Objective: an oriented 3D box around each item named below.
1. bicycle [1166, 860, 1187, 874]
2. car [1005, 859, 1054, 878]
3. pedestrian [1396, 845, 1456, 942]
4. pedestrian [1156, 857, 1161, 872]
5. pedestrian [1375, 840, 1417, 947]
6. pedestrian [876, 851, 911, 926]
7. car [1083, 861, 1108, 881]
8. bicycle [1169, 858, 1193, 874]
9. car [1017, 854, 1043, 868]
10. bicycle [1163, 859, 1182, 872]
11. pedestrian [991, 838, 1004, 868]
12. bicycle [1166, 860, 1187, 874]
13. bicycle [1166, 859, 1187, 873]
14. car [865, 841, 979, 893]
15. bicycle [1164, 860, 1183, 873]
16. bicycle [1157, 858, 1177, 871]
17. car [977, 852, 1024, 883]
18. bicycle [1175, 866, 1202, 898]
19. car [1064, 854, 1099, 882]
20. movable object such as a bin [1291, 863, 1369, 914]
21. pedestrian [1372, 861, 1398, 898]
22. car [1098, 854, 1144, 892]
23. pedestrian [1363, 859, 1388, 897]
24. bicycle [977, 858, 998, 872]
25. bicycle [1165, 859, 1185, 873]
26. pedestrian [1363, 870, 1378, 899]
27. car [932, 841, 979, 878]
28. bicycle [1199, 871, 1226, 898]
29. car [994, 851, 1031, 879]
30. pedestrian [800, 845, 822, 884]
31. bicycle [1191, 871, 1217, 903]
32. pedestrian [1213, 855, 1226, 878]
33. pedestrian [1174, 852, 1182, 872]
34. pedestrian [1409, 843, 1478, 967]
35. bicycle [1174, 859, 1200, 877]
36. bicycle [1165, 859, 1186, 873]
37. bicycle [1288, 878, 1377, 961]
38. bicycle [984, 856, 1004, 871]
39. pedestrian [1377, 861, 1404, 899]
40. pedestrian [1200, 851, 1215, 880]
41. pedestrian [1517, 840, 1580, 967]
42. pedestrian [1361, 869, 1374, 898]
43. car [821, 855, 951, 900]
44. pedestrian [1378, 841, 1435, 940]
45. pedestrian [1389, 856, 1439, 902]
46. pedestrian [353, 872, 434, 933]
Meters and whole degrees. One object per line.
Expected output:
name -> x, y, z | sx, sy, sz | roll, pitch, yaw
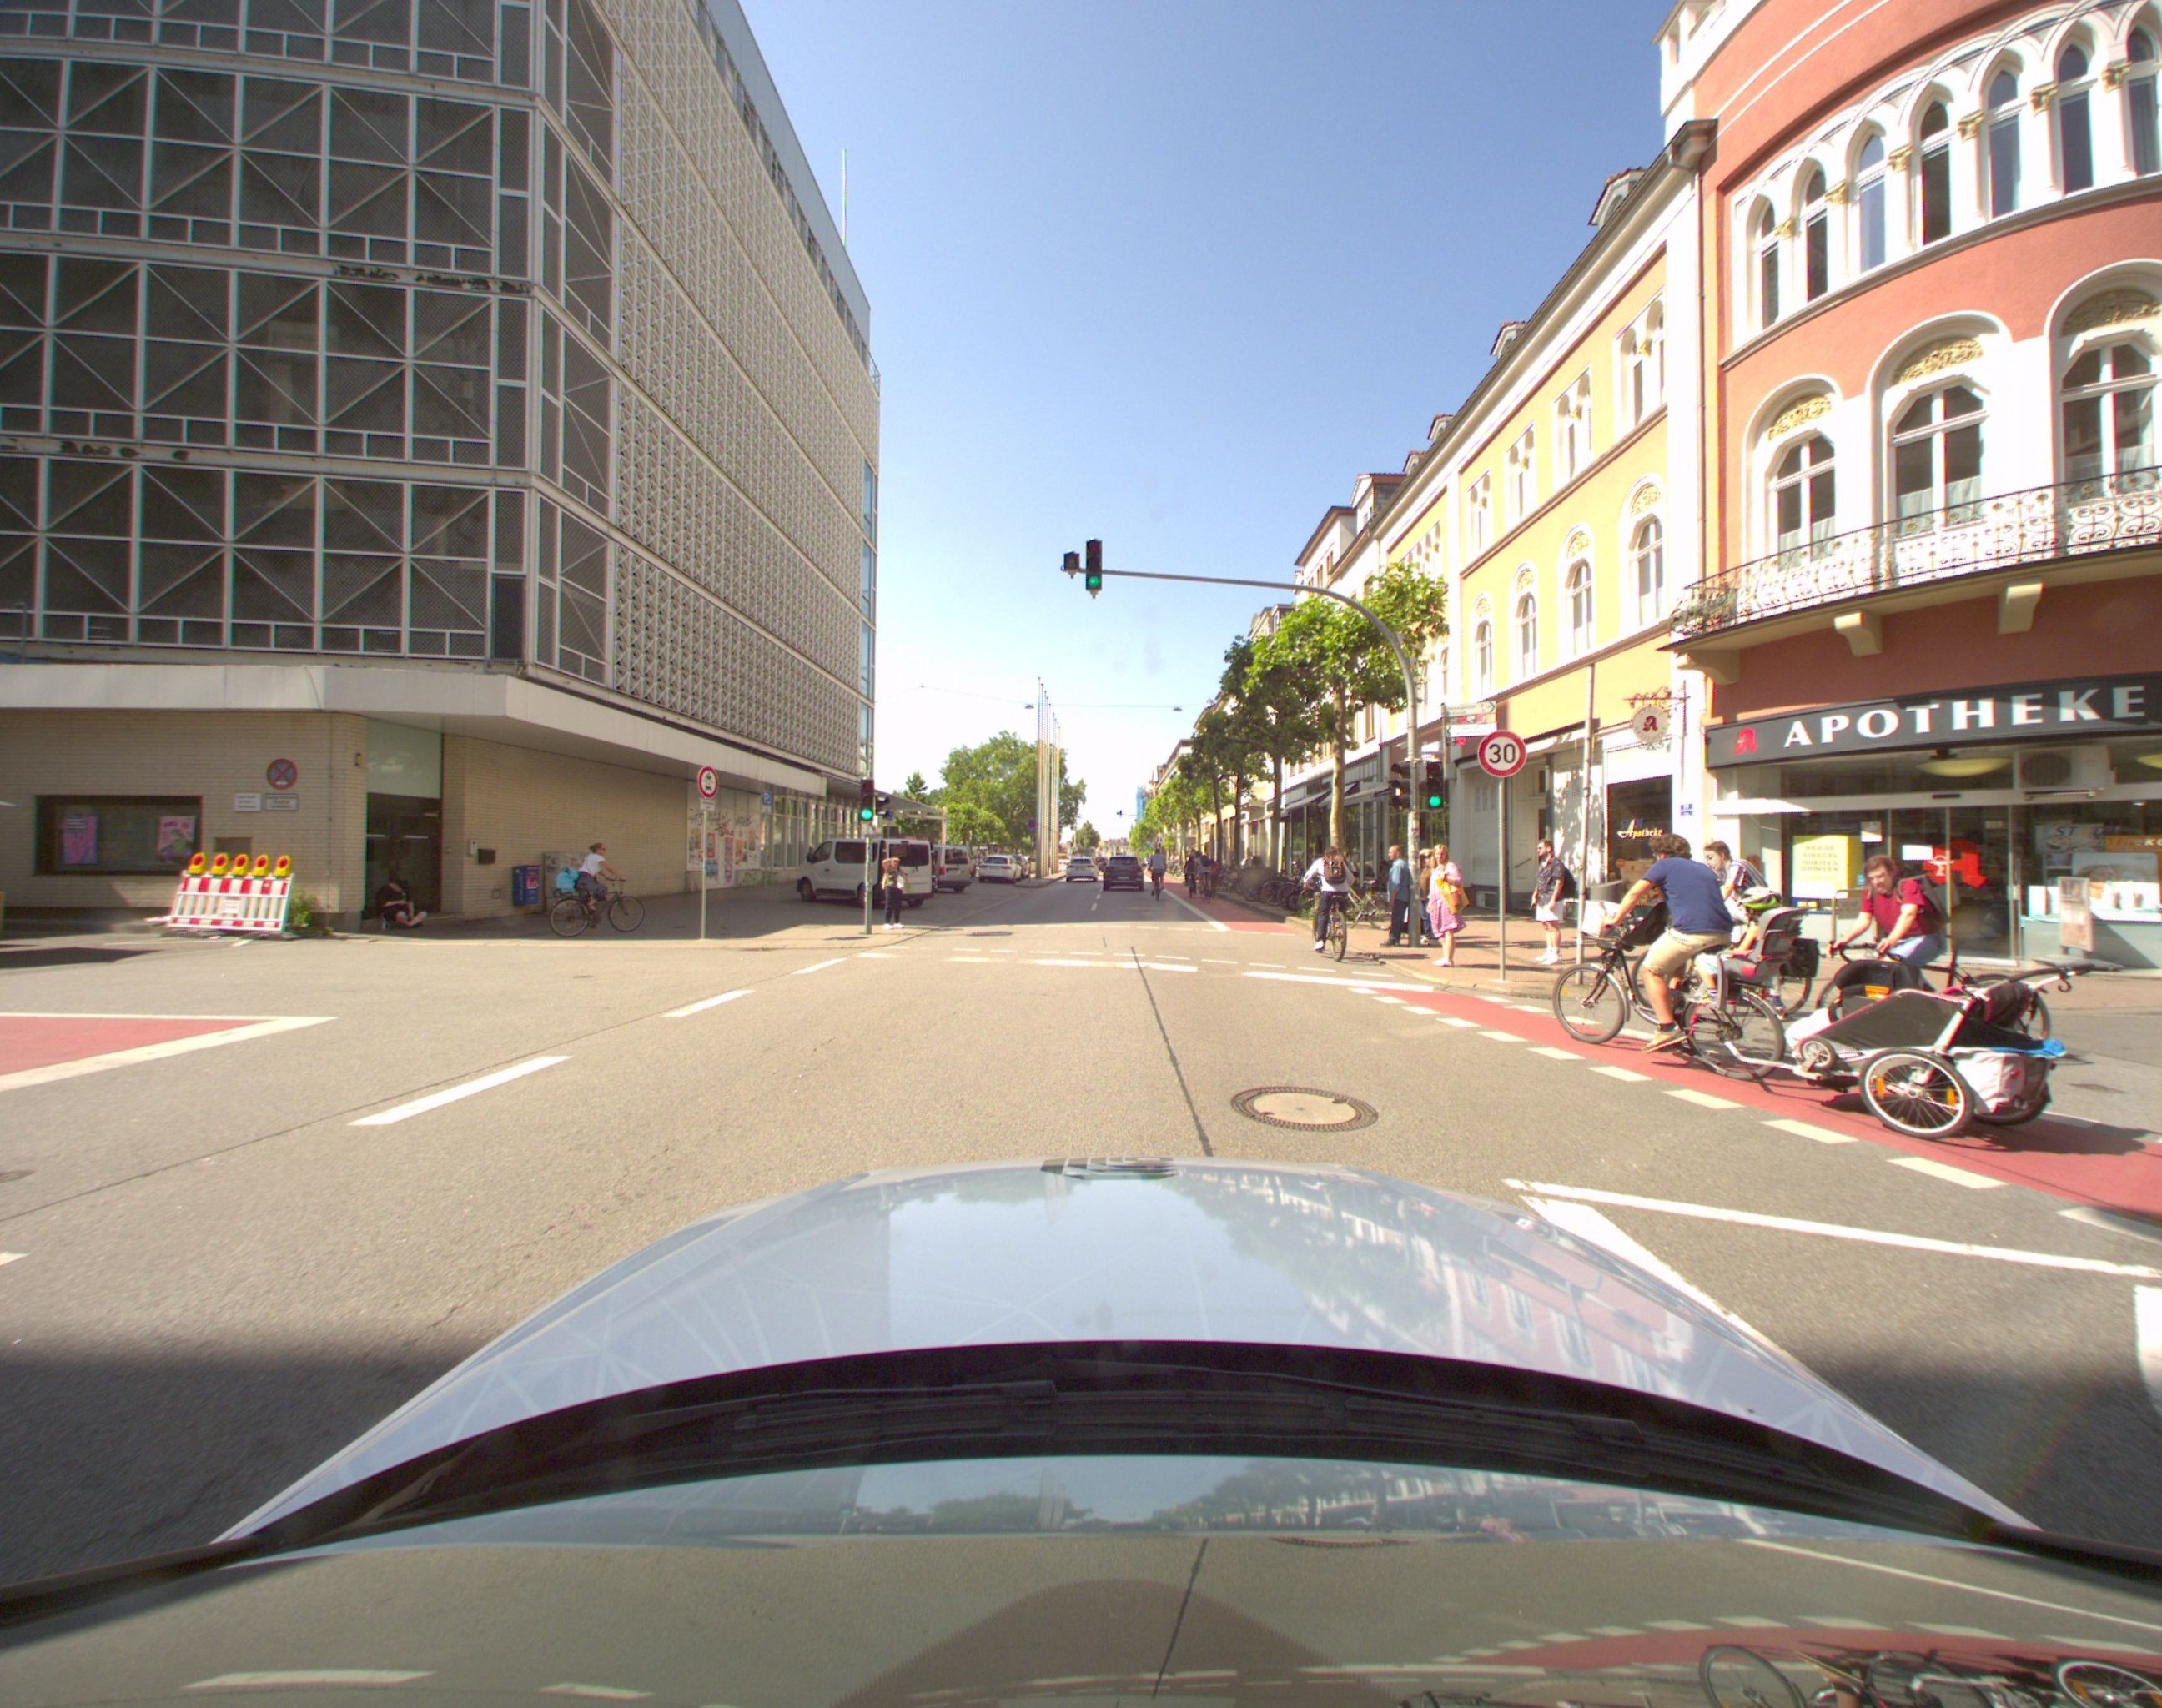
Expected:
bicycle -> 7.993, 1.072, 67.936 | 1.720, 1.109, 0.403 | 1, -1, 4
car -> -4.382, 1.226, 70.644 | 1.873, 1.541, 4.892 | 1, 1, 29
pedestrian -> 6.164, 0.699, 14.589 | 0.785, 1.690, 0.641 | 1, 0, -1
pedestrian -> 9.031, 1.226, 94.375 | 0.546, 1.631, 0.589 | -1, -1, 5
pedestrian -> 5.418, 0.666, 14.036 | 0.451, 1.795, 0.608 | 2, 0, 0
pedestrian -> -4.005, 0.729, 17.399 | 0.639, 1.559, 0.679 | 2, 0, -10
car -> 1.155, 1.309, 62.734 | 1.839, 1.449, 4.001 | 0, 0, 1
bicycle -> 7.989, 0.990, 65.186 | 1.923, 1.248, 0.737 | 1, -1, 4
car -> -7.304, 0.982, 117.021 | 1.843, 1.955, 4.786 | 0, -1, 23
bicycle -> 8.384, 1.068, 74.658 | 1.641, 1.201, 0.475 | 1, -1, 4
pedestrian -> -5.070, -0.075, 49.287 | 0.526, 1.793, 0.542 | 0, -1, 41
bicycle -> 8.045, 1.091, 68.353 | 1.720, 1.109, 0.478 | 1, -1, 4
bicycle -> 8.204, 1.042, 69.928 | 1.720, 1.217, 0.478 | 1, -1, 4
car -> -6.336, 0.470, 32.222 | 4.389, 1.909, 2.022 | 1, 0, 38
bicycle -> 8.327, 1.114, 73.135 | 1.641, 1.095, 0.607 | 1, -1, 4
bicycle -> 8.535, 1.087, 80.798 | 1.937, 1.257, 0.701 | 1, -1, -18
car -> -4.243, 0.666, 43.676 | 1.792, 1.523, 4.741 | 1, 0, 2
bicycle -> 4.032, 1.019, 30.734 | 0.696, 1.127, 2.080 | 2, 0, -1
car -> 0.077, 0.787, 47.749 | 1.838, 1.560, 4.002 | 0, 0, 2
movable object such as a bin -> 6.323, 0.870, 20.724 | 1.836, 1.189, 0.656 | 2, 0, 17
pedestrian -> 10.477, 0.871, 28.113 | 0.679, 1.253, 0.532 | -1, 0, -1
car -> 1.733, 0.800, 36.226 | 1.840, 1.559, 3.999 | 0, 0, 0
pedestrian -> 10.574, 0.859, 29.253 | 0.679, 1.333, 0.532 | 1, 0, -1
bicycle -> -8.261, 0.970, 72.135 | 1.776, 1.132, 0.562 | 1, -1, -1
bicycle -> 7.999, 1.032, 69.443 | 1.720, 1.217, 0.478 | 1, -1, 4
pedestrian -> 9.835, 1.037, 27.649 | 0.363, 0.968, 0.437 | 1, 0, 4
car -> -7.215, 0.318, 47.234 | 1.825, 2.013, 4.688 | 1, 0, 2
bicycle -> 4.899, 1.119, 30.486 | 0.598, 0.926, 2.086 | -2, 0, -1
car -> -4.119, 0.666, 49.475 | 1.754, 1.600, 4.711 | 1, 0, 1
pedestrian -> -10.826, 0.413, 32.688 | 0.677, 1.559, 0.640 | 0, 0, -3
bicycle -> 4.117, 1.095, 27.425 | 0.628, 0.980, 2.089 | 0, 0, 2
pedestrian -> 7.786, 0.708, 45.833 | 0.637, 1.233, 0.597 | 1, -2, -1
pedestrian -> 8.304, 0.683, 69.663 | 0.612, 1.612, 0.745 | 1, -1, 3
pedestrian -> 5.207, 0.722, 11.734 | 0.637, 1.709, 0.789 | 1, -3, -1
bicycle -> 7.575, 1.012, 58.092 | 1.830, 1.186, 0.671 | 2, -1, 7
bicycle -> 7.977, 1.017, 68.718 | 1.720, 1.217, 0.478 | 1, -1, 4
bicycle -> 3.866, 0.969, 12.701 | 0.696, 1.127, 2.080 | 2, 0, -1
bicycle -> -8.018, 0.884, 74.923 | 1.776, 1.309, 0.663 | 1, -1, -1
pedestrian -> 10.468, 0.888, 27.514 | 0.637, 1.253, 0.608 | -2, -2, -1
pedestrian -> 7.485, 0.685, 48.259 | 0.637, 1.689, 0.843 | 3, 0, 0
pedestrian -> 7.081, 0.731, 12.353 | 0.634, 1.843, 0.617 | 2, -1, 14
pedestrian -> 9.963, 1.027, 28.312 | 0.339, 0.968, 0.437 | 1, 0, 4
car -> -6.829, 0.786, 28.374 | 4.244, 1.286, 1.983 | 2, 0, 33
pedestrian -> 6.094, 0.666, 15.272 | 0.785, 1.795, 0.641 | 2, 0, -1
pedestrian -> 10.342, 0.772, 25.337 | 1.229, 1.422, 0.789 | 0, -2, -1
pedestrian -> -13.057, 0.903, 15.490 | 0.719, 1.057, 0.841 | 4, -1, 0
